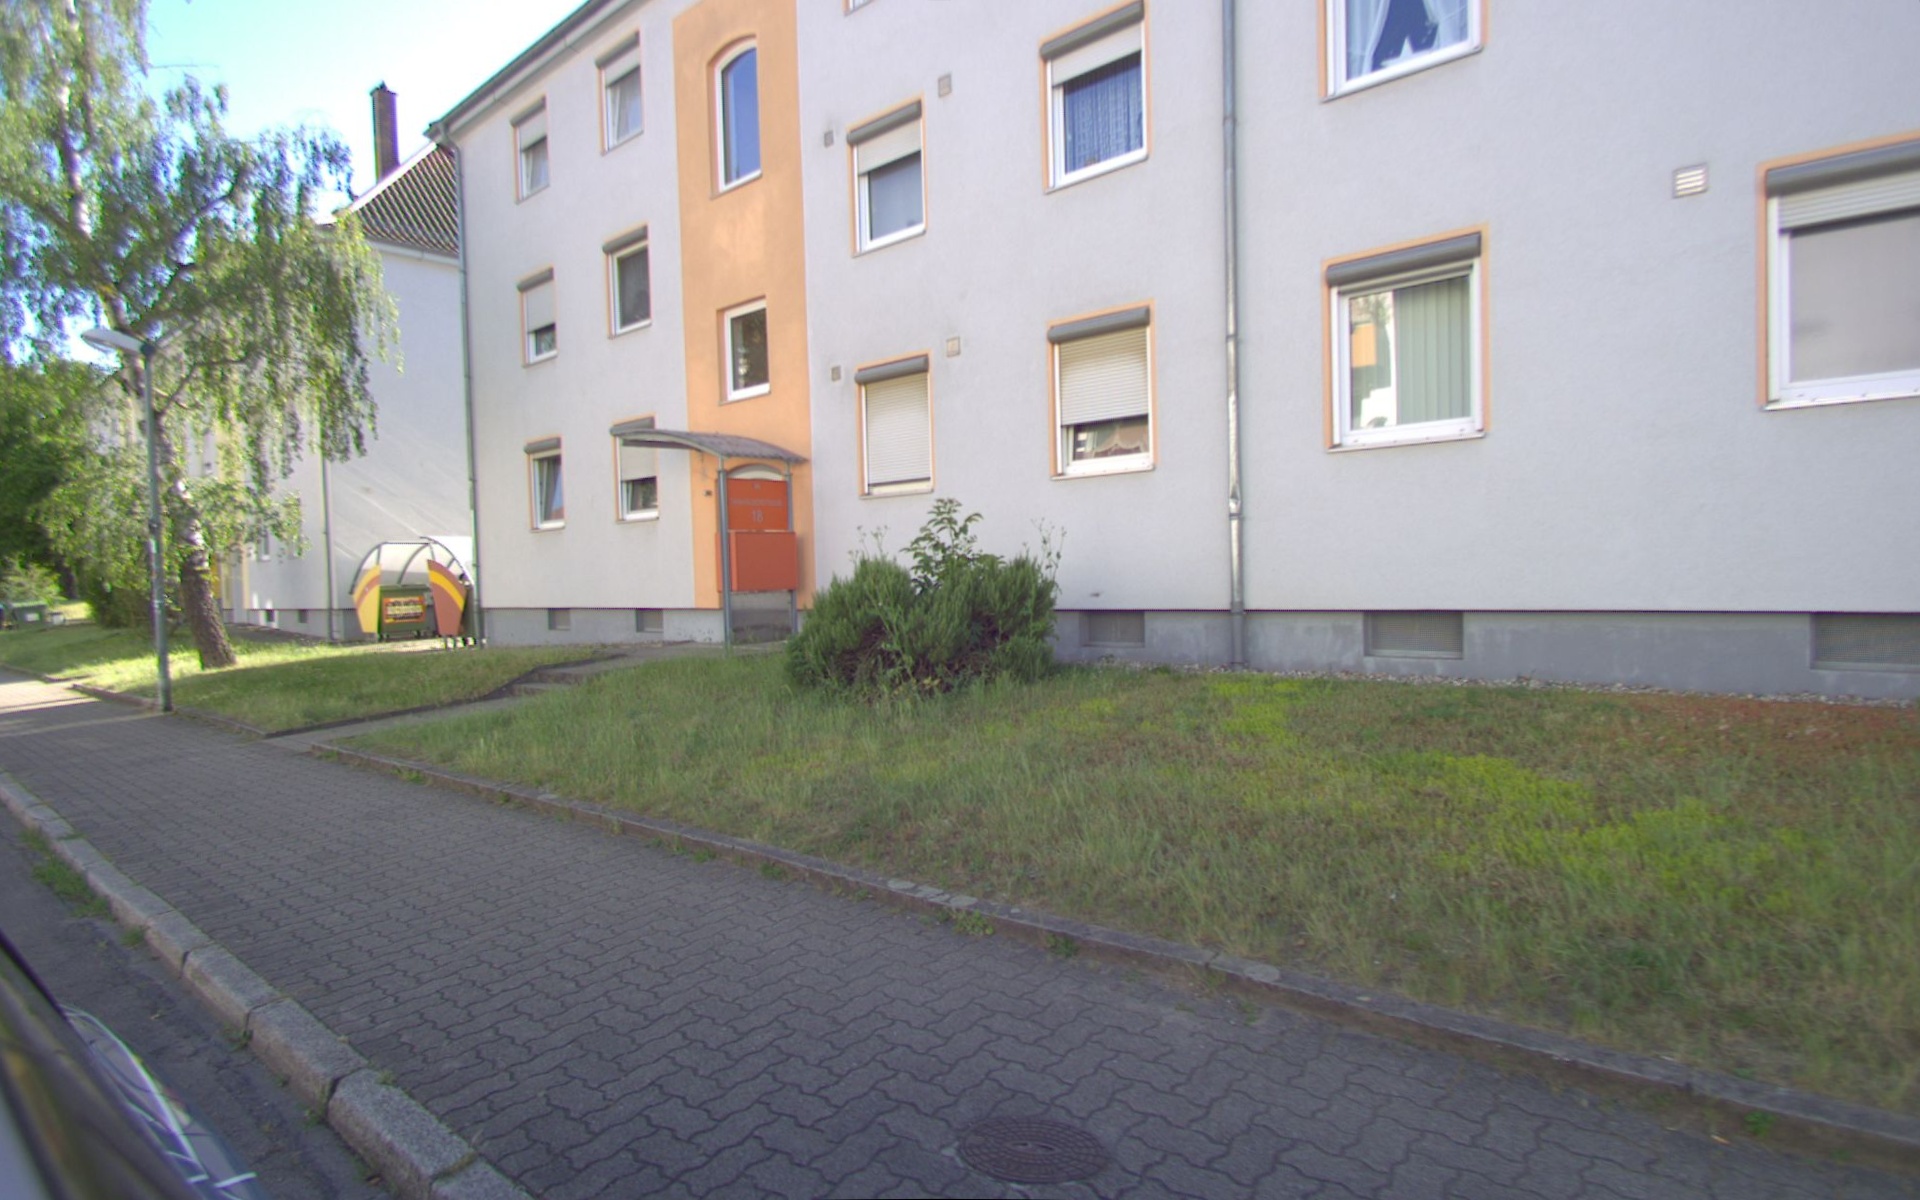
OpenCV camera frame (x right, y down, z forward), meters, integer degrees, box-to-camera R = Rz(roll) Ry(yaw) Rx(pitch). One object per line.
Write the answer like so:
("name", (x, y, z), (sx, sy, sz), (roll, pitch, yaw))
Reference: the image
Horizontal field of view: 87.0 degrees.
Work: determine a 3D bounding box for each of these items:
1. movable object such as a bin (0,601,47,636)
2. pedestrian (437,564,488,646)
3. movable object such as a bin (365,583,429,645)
("movable object such as a bin", (-43.678, 0.844, 47.195), (1.072, 1.463, 1.347), (-1, 5, 41))
("pedestrian", (-11.377, 0.100, 23.139), (0.718, 1.837, 0.797), (-1, 1, 42))
("movable object such as a bin", (-13.444, 0.325, 24.181), (0.812, 1.416, 1.073), (-1, 2, 41))
